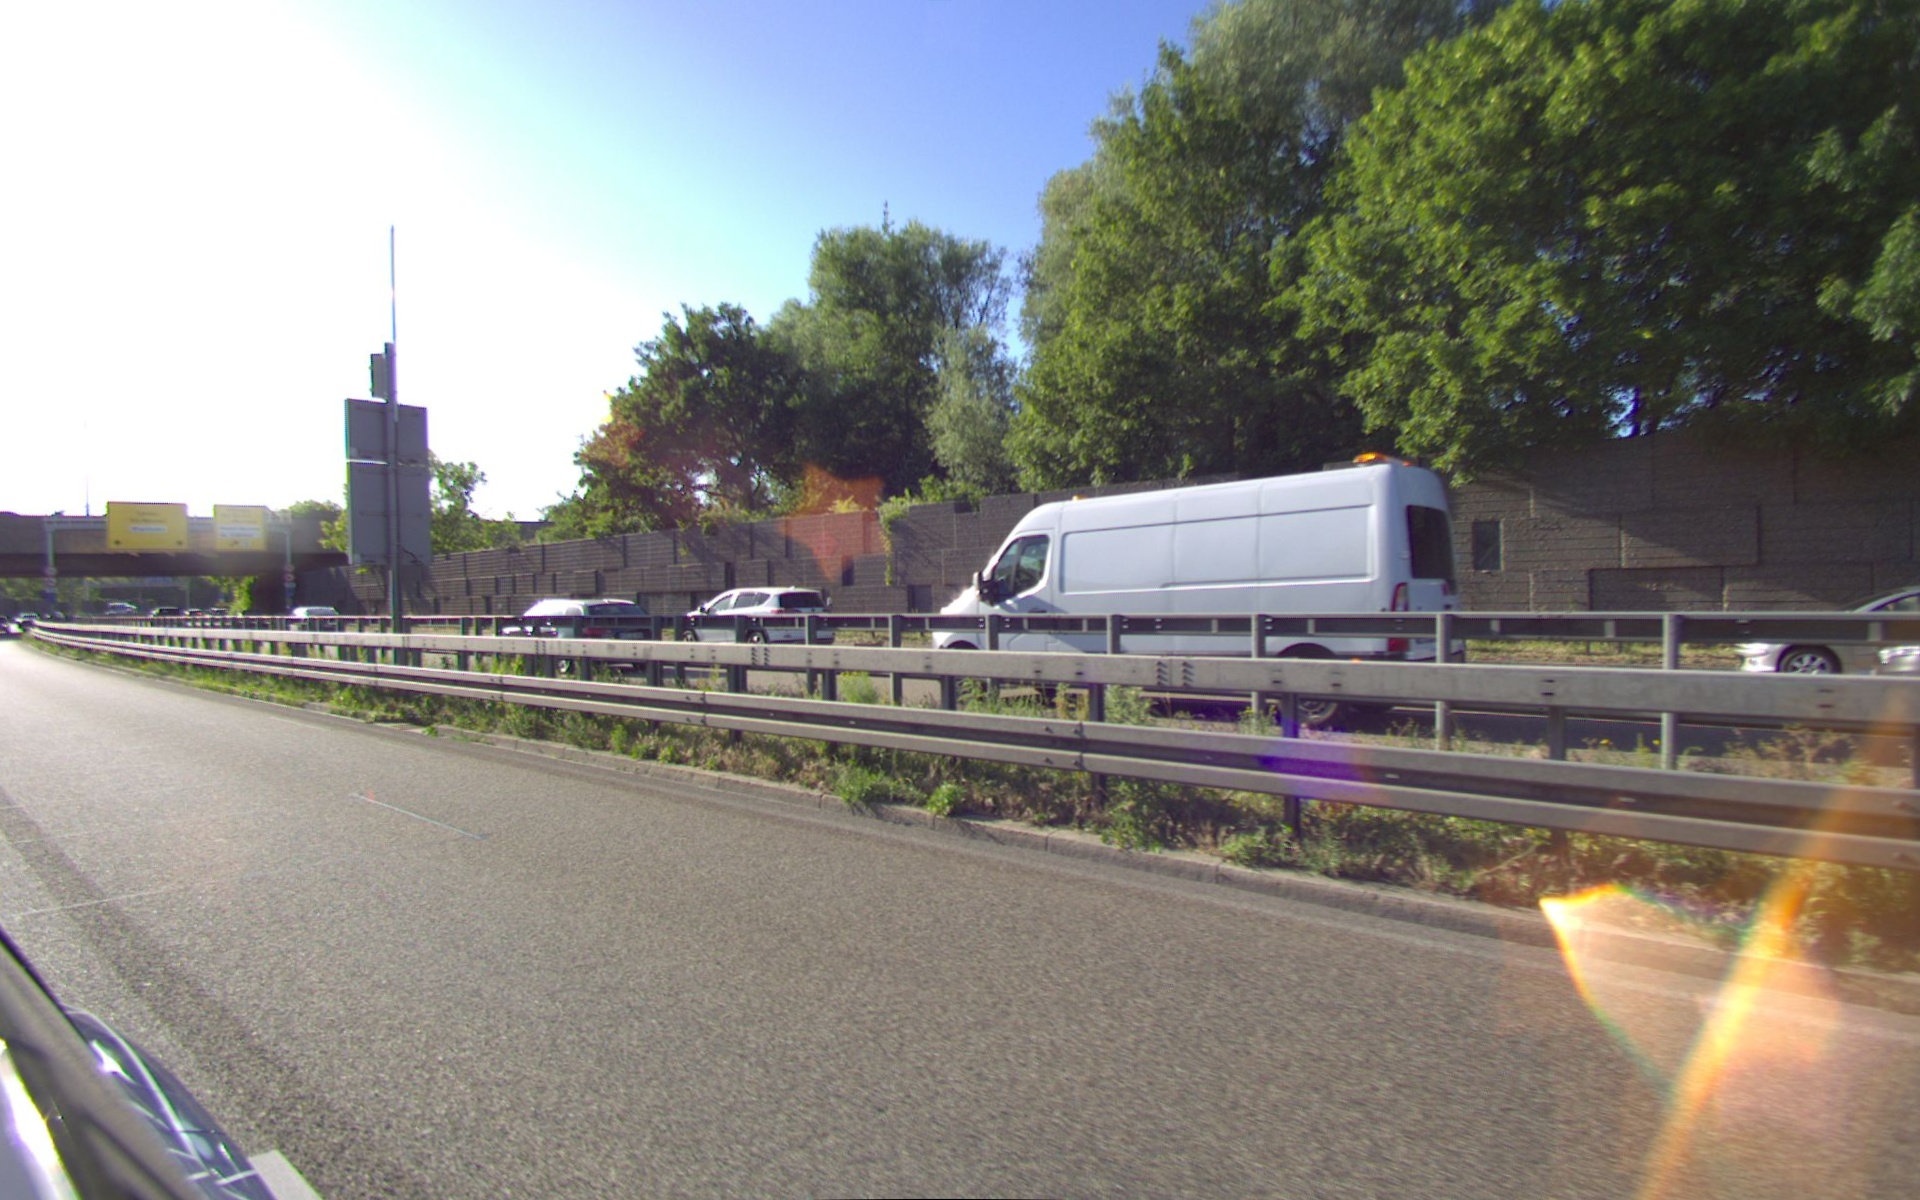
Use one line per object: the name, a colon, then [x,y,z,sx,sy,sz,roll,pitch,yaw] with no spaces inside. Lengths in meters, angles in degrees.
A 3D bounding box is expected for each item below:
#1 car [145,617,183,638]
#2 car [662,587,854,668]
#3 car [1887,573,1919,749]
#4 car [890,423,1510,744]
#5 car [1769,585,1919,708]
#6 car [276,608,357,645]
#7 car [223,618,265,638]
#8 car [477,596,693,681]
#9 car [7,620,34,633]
car: [-67.173,2.312,85.367,4.810,1.585,1.876,-2,1,45]
car: [-4.790,0.631,23.579,4.620,1.608,1.973,-2,1,42]
car: [11.500,0.507,8.992,4.693,1.632,1.882,-2,1,41]
car: [2.299,-0.103,11.518,6.586,2.703,2.099,-2,1,42]
car: [12.700,0.535,12.599,4.024,1.398,1.975,-2,1,39]
car: [-29.811,1.240,46.849,4.533,1.491,1.973,-2,1,42]
car: [-53.123,2.104,75.021,1.876,1.432,4.137,0,-2,-45]
car: [-7.754,0.758,20.646,5.088,1.444,1.973,-2,1,42]
car: [-105.628,2.967,113.843,1.969,1.425,4.838,-2,0,-40]
